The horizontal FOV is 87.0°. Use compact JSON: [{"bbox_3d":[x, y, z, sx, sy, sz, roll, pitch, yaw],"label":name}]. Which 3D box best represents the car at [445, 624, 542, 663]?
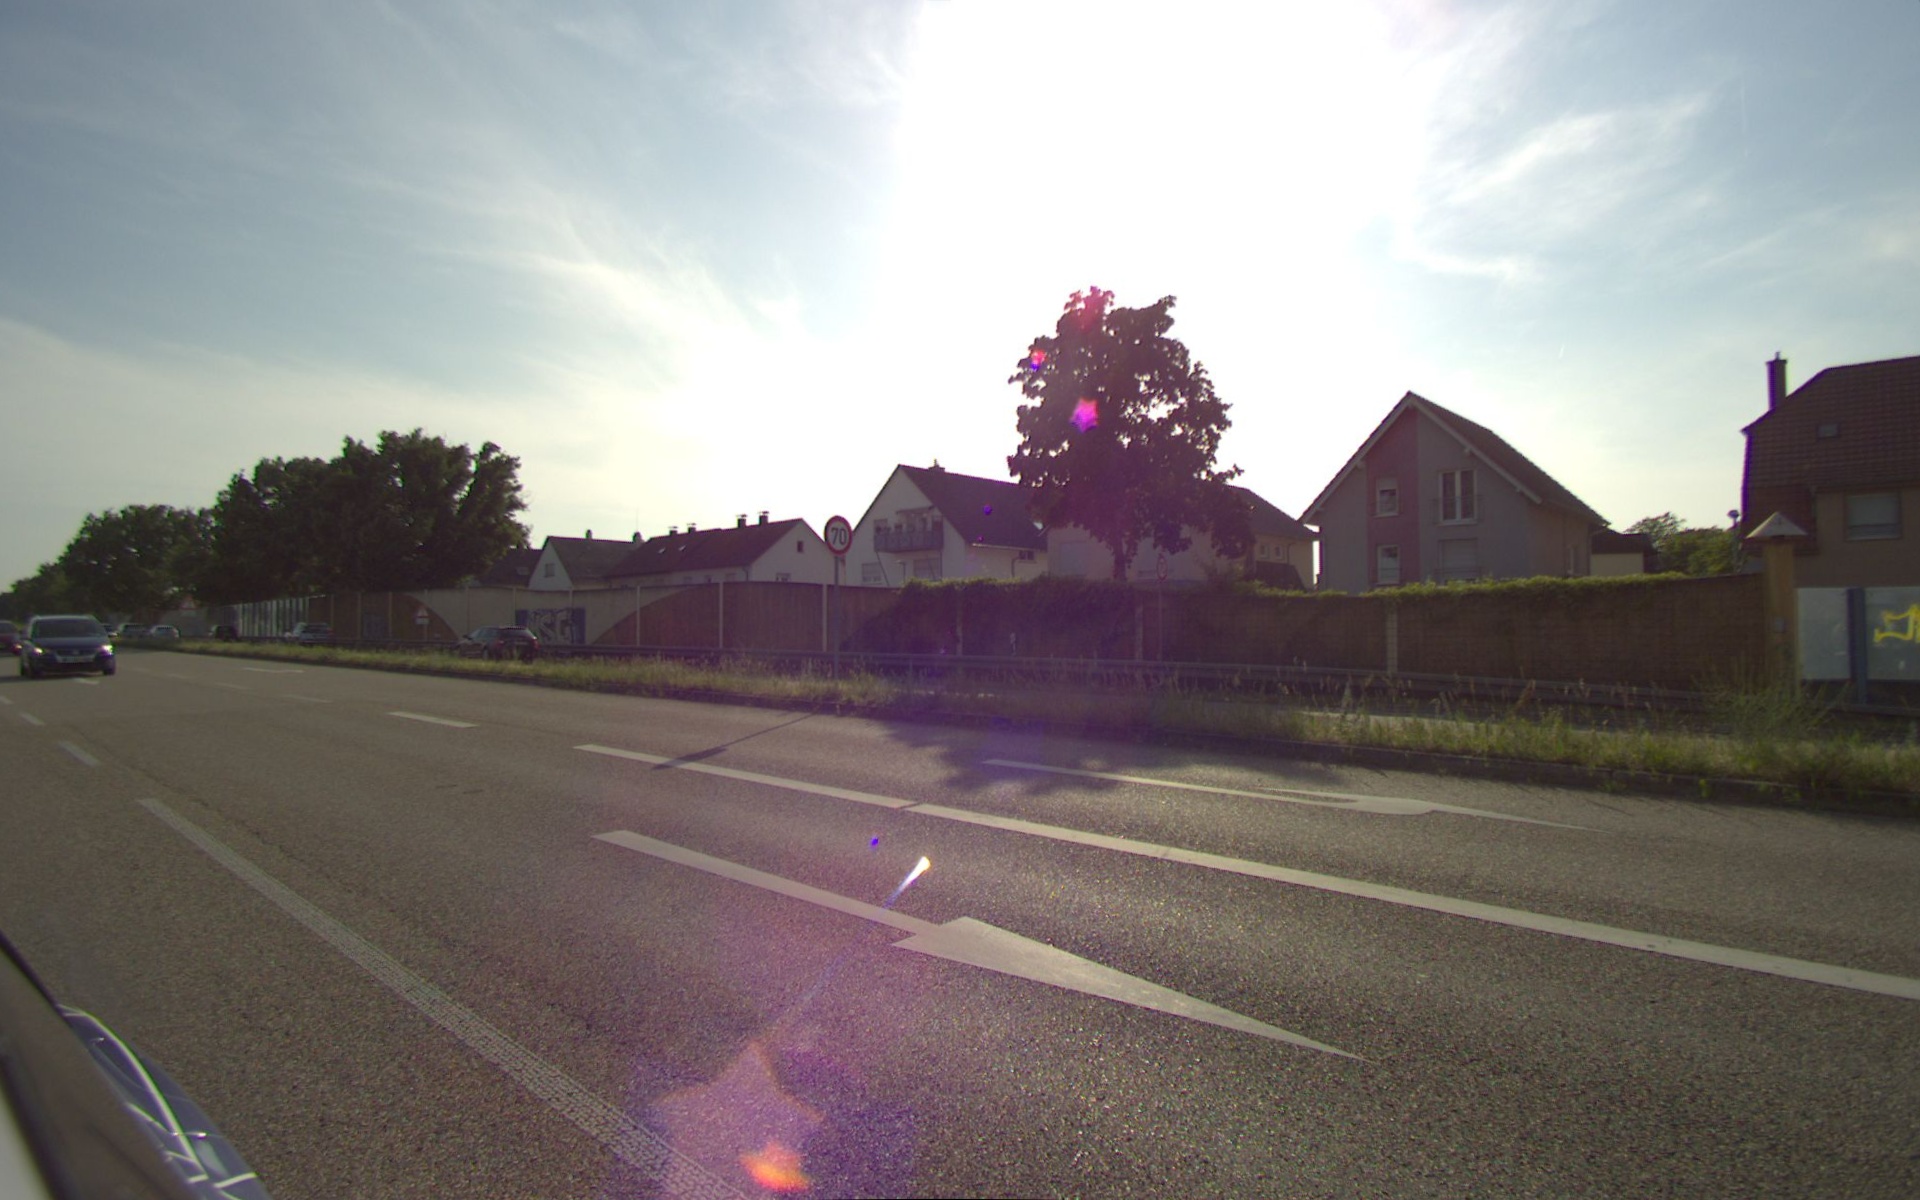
[{"bbox_3d":[-18.043,1.637,39.057,4.553,1.393,1.769,-1,0,42],"label":"car"}]

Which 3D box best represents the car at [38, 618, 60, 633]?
[{"bbox_3d":[-106.009,2.964,117.729,3.818,1.586,1.663,-1,0,44],"label":"car"}]

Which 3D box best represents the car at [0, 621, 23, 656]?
[{"bbox_3d":[-43.985,1.742,46.043,4.001,1.557,1.724,-1,0,44],"label":"car"}]

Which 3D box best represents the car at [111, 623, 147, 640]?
[{"bbox_3d":[-62.706,2.379,76.335,3.503,1.231,1.613,-1,-4,43],"label":"car"}]

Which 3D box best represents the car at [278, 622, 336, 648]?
[{"bbox_3d":[-36.857,1.951,57.083,3.997,1.364,1.717,-1,0,41],"label":"car"}]

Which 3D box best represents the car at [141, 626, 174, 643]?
[{"bbox_3d":[-68.805,2.940,86.772,3.497,1.371,1.523,-1,-4,41],"label":"car"}]

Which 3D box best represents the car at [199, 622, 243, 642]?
[{"bbox_3d":[-53.352,2.283,73.031,3.775,1.363,1.843,-1,-4,44],"label":"car"}]

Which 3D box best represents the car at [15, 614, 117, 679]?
[{"bbox_3d":[-24.742,1.233,27.949,4.683,1.634,1.753,-1,-1,44],"label":"car"}]
